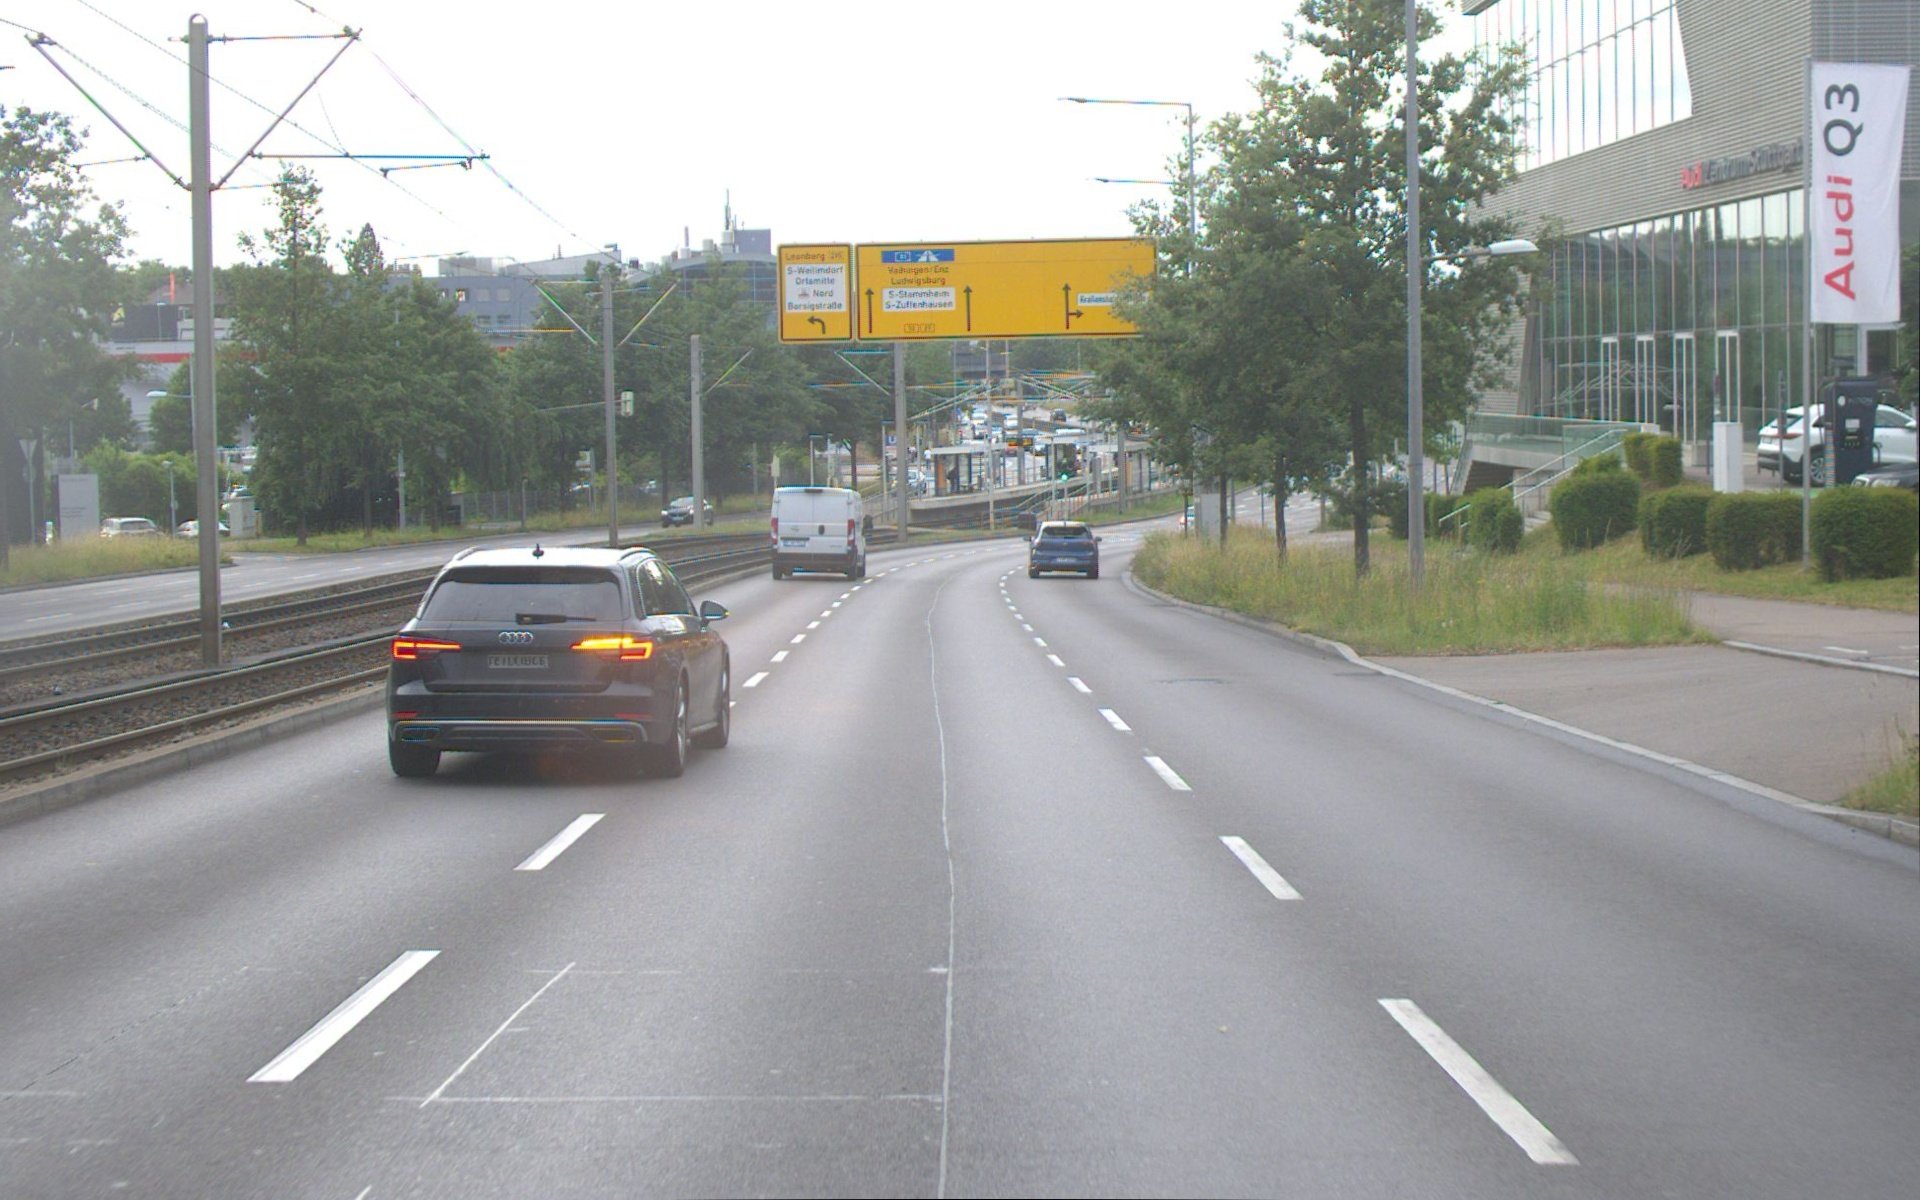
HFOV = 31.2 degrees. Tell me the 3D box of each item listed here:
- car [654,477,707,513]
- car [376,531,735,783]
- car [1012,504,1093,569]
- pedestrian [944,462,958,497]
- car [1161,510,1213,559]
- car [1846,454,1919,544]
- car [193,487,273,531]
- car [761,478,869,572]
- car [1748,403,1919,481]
[{"bbox_3d":[-12.912,-4.875,159.183,1.883,1.515,4.403,-3,2,2],"label":"car"},{"bbox_3d":[-2.523,0.291,22.475,1.764,1.458,4.627,0,1,0],"label":"car"},{"bbox_3d":[2.403,-1.627,88.777,2.021,1.617,4.000,1,1,2],"label":"car"},{"bbox_3d":[-0.485,-6.548,187.031,0.637,1.848,0.750,1,1,11],"label":"pedestrian"},{"bbox_3d":[9.371,-2.722,142.103,2.021,1.763,4.001,0,4,3],"label":"car"},{"bbox_3d":[18.180,-1.794,61.088,4.420,1.568,1.693,0,2,-1],"label":"car"},{"bbox_3d":[-28.611,-3.586,135.407,1.994,1.645,3.999,1,1,5],"label":"car"},{"bbox_3d":[-3.565,-1.813,84.207,2.511,2.169,5.150,1,1,-3],"label":"car"},{"bbox_3d":[18.690,-3.263,71.299,4.259,1.568,1.693,0,2,-1],"label":"car"}]
